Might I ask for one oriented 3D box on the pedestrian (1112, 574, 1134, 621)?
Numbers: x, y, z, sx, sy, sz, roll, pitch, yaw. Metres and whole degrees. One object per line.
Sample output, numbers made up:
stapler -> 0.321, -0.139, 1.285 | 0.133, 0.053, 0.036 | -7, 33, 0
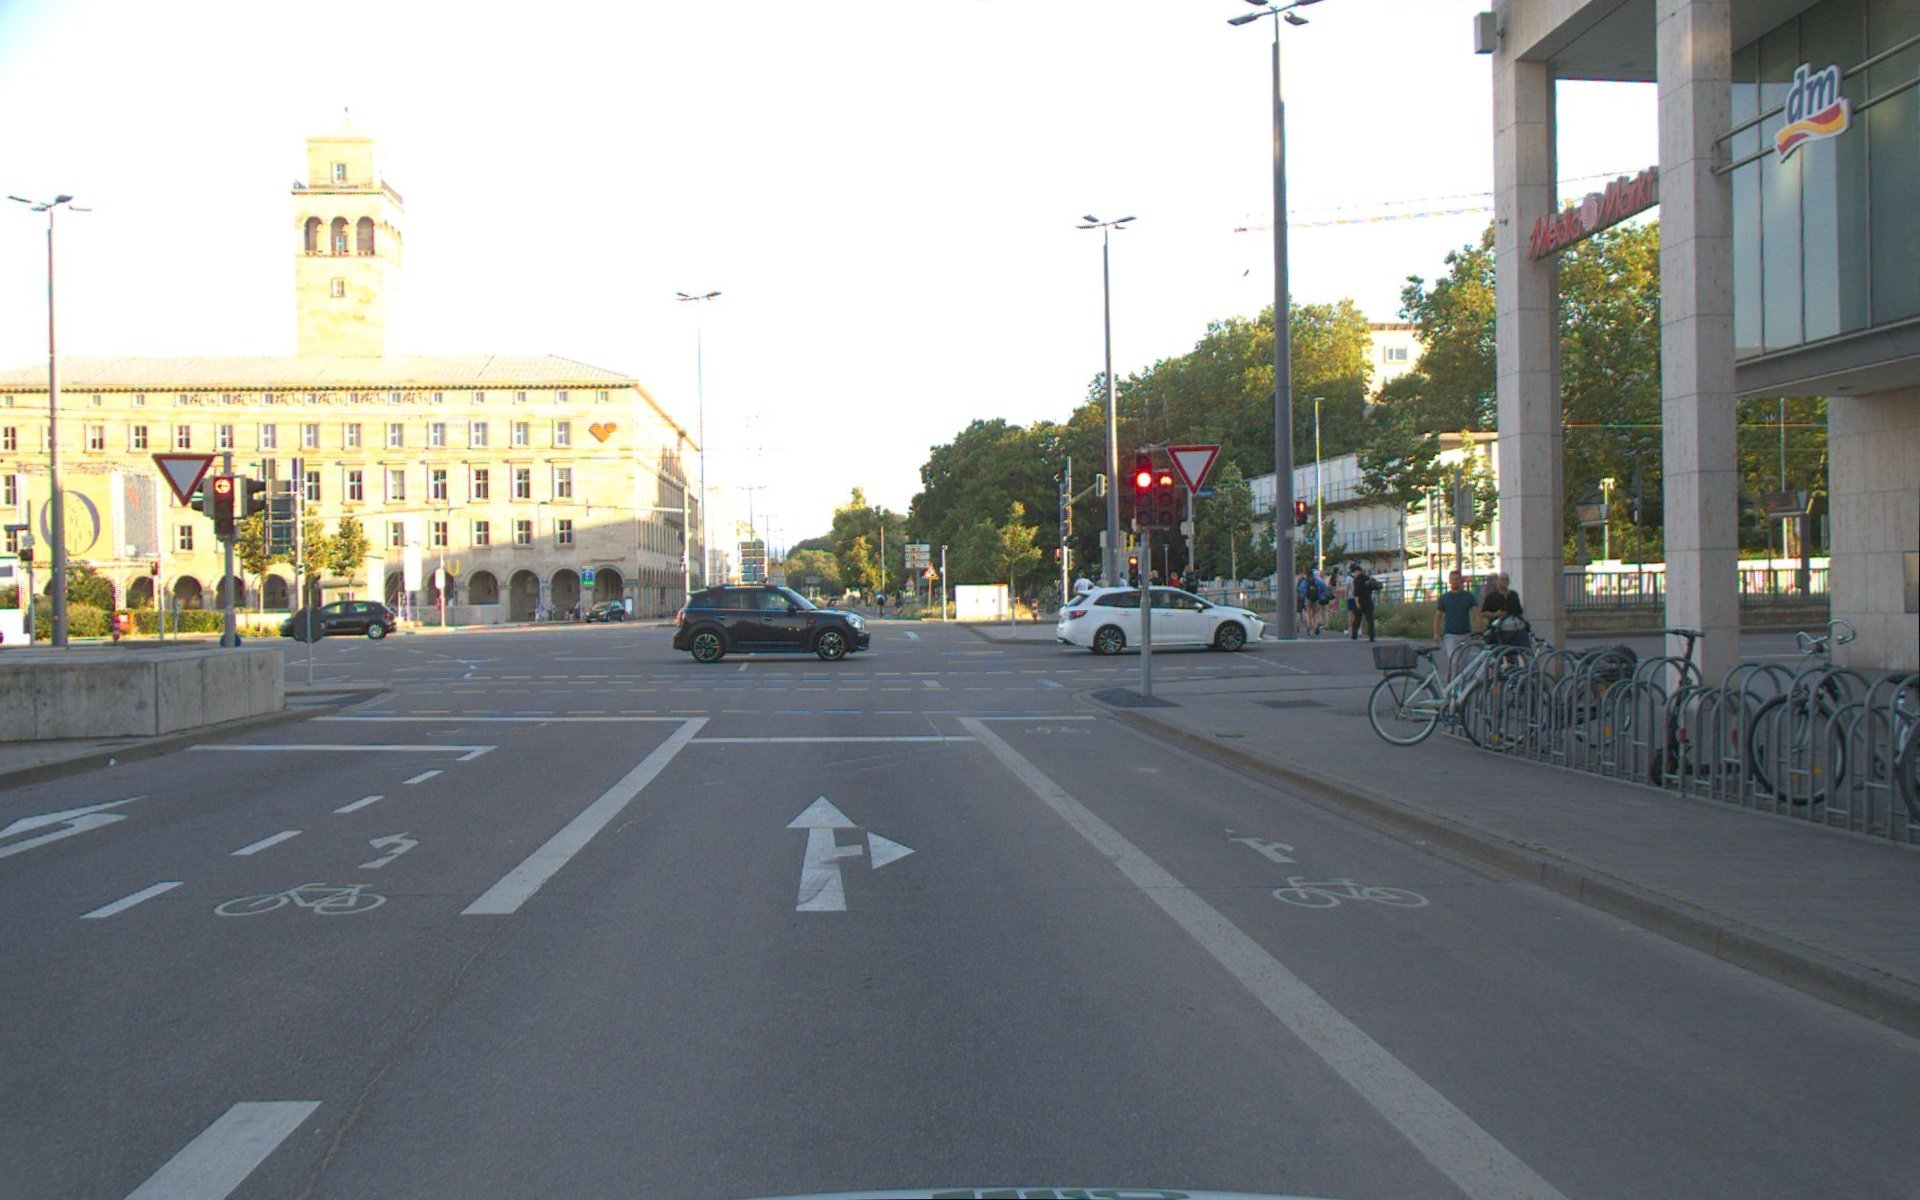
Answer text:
pedestrian -> 6.115, -0.101, 61.990 | 0.791, 1.760, 0.688 | -1, 0, 7

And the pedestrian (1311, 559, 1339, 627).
pedestrian -> 9.620, -0.187, 43.618 | 0.671, 1.760, 0.896 | -1, 0, 13

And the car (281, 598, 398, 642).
car -> -22.654, 0.710, 60.536 | 3.915, 1.478, 1.538 | -1, 1, -19

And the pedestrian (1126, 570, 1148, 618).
pedestrian -> 6.560, -0.234, 61.276 | 0.791, 1.760, 0.688 | -1, 0, 7

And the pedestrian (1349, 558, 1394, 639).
pedestrian -> 9.664, -0.032, 38.838 | 0.874, 1.863, 0.688 | -1, 0, 3

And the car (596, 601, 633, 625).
car -> -26.125, 0.982, 125.204 | 1.952, 1.691, 4.000 | -1, 1, 0

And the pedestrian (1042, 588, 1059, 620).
pedestrian -> 5.109, 0.215, 93.553 | 0.793, 1.760, 0.927 | -1, 0, -7

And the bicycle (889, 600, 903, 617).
bicycle -> -3.848, 0.495, 99.681 | 0.639, 0.987, 1.482 | -1, 0, -8

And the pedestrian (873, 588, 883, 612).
pedestrian -> -4.868, -0.029, 97.730 | 0.513, 1.398, 0.686 | -1, 0, -8

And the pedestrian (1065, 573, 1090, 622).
pedestrian -> 4.330, -0.103, 60.879 | 0.793, 1.760, 0.687 | -1, 0, -7

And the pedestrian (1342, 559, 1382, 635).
pedestrian -> 10.043, -0.084, 41.337 | 0.874, 1.872, 0.688 | -1, 0, 7

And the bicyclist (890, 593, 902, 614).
bicyclist -> -3.871, 0.192, 99.658 | 0.639, 1.245, 0.859 | -1, 0, -8

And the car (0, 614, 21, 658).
car -> -34.875, 1.296, 57.356 | 3.648, 1.478, 1.541 | -1, 0, -12

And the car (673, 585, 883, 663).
car -> -3.906, 0.494, 35.822 | 4.374, 1.522, 2.125 | -1, 1, -6

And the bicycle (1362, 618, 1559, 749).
bicycle -> 4.903, 0.816, 16.298 | 1.778, 1.233, 0.571 | -1, 0, 11

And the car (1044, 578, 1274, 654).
car -> 4.357, 0.338, 36.610 | 4.704, 1.522, 2.125 | -1, 1, -6

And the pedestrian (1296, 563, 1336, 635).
pedestrian -> 8.965, -0.030, 41.656 | 0.874, 1.760, 0.688 | -1, 0, 6

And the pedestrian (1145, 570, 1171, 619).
pedestrian -> 7.339, -0.209, 61.240 | 0.792, 1.760, 0.687 | -1, 0, -6

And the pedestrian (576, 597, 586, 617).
pedestrian -> -30.871, 0.574, 134.638 | 0.621, 1.595, 0.774 | -1, 0, -4

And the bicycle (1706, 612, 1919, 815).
bicycle -> 6.197, 0.748, 11.380 | 1.831, 1.282, 0.673 | -2, 0, -7

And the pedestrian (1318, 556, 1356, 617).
pedestrian -> 11.066, -0.395, 48.603 | 0.682, 1.760, 0.825 | -1, 0, -42

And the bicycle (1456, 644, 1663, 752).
bicycle -> 5.782, 0.938, 15.987 | 1.831, 0.952, 0.516 | -1, 0, -7

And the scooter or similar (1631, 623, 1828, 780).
scooter or similar -> 6.104, 0.790, 13.150 | 1.251, 1.180, 0.673 | -1, 0, -6

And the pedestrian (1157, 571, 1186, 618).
pedestrian -> 7.909, -0.210, 61.890 | 0.679, 1.760, 0.802 | -1, 0, -31

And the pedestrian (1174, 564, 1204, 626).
pedestrian -> 6.575, -0.153, 47.527 | 0.678, 1.760, 0.741 | -1, 0, -3

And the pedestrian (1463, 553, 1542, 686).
pedestrian -> 7.688, 0.273, 23.455 | 0.741, 1.807, 0.740 | -4, 1, -4

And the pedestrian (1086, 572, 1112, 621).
pedestrian -> 5.128, -0.125, 61.018 | 0.793, 1.760, 0.687 | -1, 0, -7

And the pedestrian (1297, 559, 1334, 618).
pedestrian -> 10.605, -0.343, 49.321 | 0.824, 1.760, 0.683 | -1, 0, 43

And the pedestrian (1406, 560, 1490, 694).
pedestrian -> 6.893, 0.375, 23.386 | 0.844, 1.807, 0.740 | -4, 1, -4

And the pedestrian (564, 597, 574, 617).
pedestrian -> -31.666, 0.590, 134.037 | 0.621, 1.595, 0.774 | -1, 0, -4

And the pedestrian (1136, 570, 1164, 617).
pedestrian -> 7.217, -0.239, 62.784 | 0.681, 1.760, 0.800 | -1, 0, -38

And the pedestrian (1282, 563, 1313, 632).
pedestrian -> 8.789, -0.067, 43.072 | 0.671, 1.760, 0.896 | -1, 0, 6

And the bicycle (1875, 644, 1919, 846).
bicycle -> 6.388, 0.847, 9.613 | 1.833, 1.133, 0.570 | 1, 0, -2
